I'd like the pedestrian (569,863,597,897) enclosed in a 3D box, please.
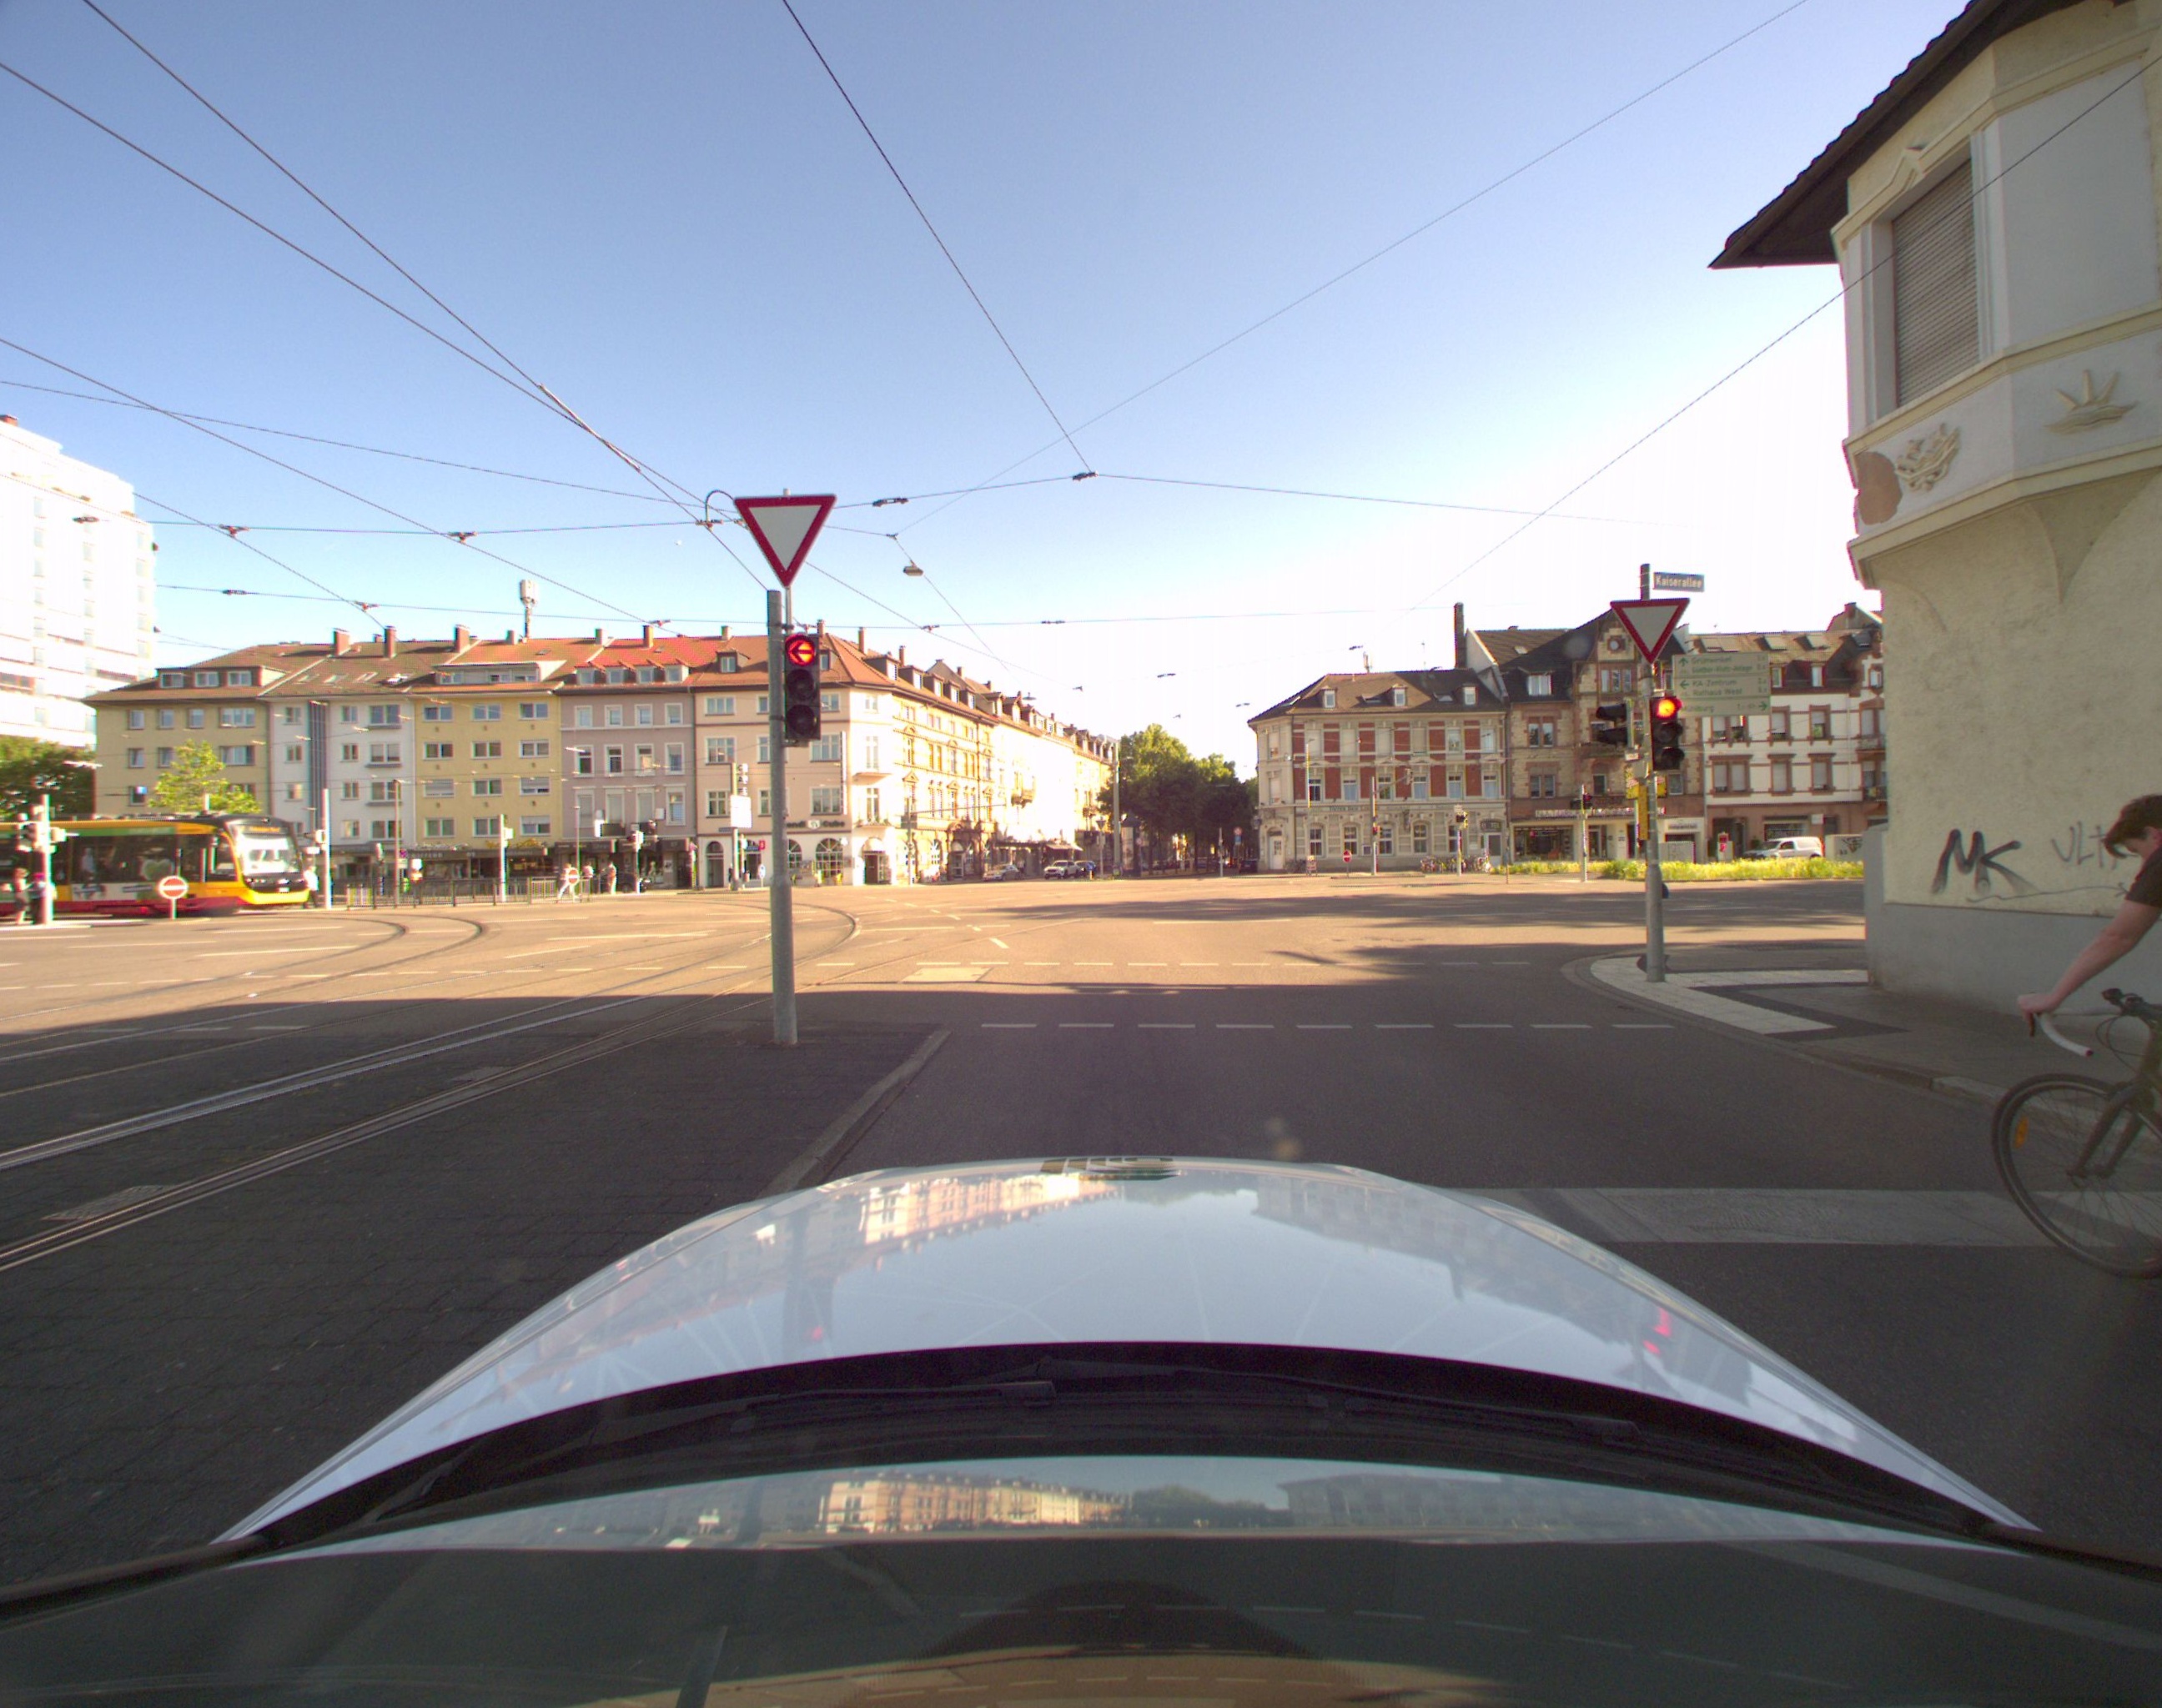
[{"bbox_3d":[-23.506,1.217,38.456,0.720,1.577,0.836,-1,-1,11],"label":"pedestrian"}]

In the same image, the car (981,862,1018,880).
[{"bbox_3d":[-6.708,1.422,67.229,1.664,1.354,3.608,-2,0,19],"label":"car"}]

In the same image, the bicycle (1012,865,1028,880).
[{"bbox_3d":[-4.893,1.482,65.537,0.696,1.118,1.642,-1,-1,16],"label":"bicycle"}]

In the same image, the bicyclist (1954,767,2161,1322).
[{"bbox_3d":[3.582,0.579,2.504,0.570,1.701,1.117,-1,0,2],"label":"bicyclist"}]

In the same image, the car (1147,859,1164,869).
[{"bbox_3d":[11.240,1.508,122.368,1.664,1.354,3.608,-2,0,19],"label":"car"}]

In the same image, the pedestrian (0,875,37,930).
[{"bbox_3d":[-32.915,1.498,25.241,0.456,1.644,0.643,-1,1,38],"label":"pedestrian"}]

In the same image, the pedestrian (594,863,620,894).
[{"bbox_3d":[-24.752,1.286,42.546,0.842,1.577,0.836,-1,-1,11],"label":"pedestrian"}]

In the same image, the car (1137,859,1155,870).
[{"bbox_3d":[9.170,1.487,115.451,1.664,1.354,3.608,-2,0,19],"label":"car"}]

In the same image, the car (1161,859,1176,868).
[{"bbox_3d":[14.029,1.496,130.613,1.664,1.354,3.608,-2,0,19],"label":"car"}]

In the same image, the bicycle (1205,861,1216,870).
[{"bbox_3d":[15.768,1.387,99.284,0.636,1.021,1.839,0,-1,-12],"label":"bicycle"}]

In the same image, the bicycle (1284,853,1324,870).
[{"bbox_3d":[15.606,0.499,57.064,2.547,1.174,0.818,0,-1,-1],"label":"bicycle"}]

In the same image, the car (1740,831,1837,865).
[{"bbox_3d":[45.445,-0.382,52.409,4.406,2.013,2.002,-1,0,4],"label":"car"}]

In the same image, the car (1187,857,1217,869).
[{"bbox_3d":[17.202,1.252,115.460,3.870,1.648,1.691,-2,0,19],"label":"car"}]

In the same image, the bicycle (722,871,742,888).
[{"bbox_3d":[-22.762,1.681,53.149,0.570,1.077,1.497,0,-1,2],"label":"bicycle"}]

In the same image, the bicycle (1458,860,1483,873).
[{"bbox_3d":[25.207,0.804,52.708,0.656,0.840,2.162,0,-1,3],"label":"bicycle"}]

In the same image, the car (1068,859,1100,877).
[{"bbox_3d":[0.308,1.238,73.773,1.664,1.483,3.967,-2,0,19],"label":"car"}]

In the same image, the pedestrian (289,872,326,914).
[{"bbox_3d":[-30.091,1.511,31.684,0.657,1.577,0.889,-1,-1,29],"label":"pedestrian"}]

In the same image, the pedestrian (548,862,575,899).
[{"bbox_3d":[-22.837,1.146,35.809,0.545,1.577,0.838,-1,-1,29],"label":"pedestrian"}]

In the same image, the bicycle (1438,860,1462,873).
[{"bbox_3d":[23.887,0.814,52.746,0.656,0.840,2.162,0,-1,3],"label":"bicycle"}]

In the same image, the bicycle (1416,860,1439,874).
[{"bbox_3d":[22.428,0.824,52.702,0.656,0.840,2.162,0,-1,3],"label":"bicycle"}]

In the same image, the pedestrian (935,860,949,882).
[{"bbox_3d":[-11.046,1.353,64.600,0.770,1.670,0.834,-1,-1,17],"label":"pedestrian"}]

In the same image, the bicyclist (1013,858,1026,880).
[{"bbox_3d":[-4.939,1.207,65.417,0.772,1.803,1.060,-1,-1,16],"label":"bicyclist"}]

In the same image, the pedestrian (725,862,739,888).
[{"bbox_3d":[-22.765,1.388,53.159,0.580,1.670,0.753,0,-1,2],"label":"pedestrian"}]

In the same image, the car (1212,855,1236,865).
[{"bbox_3d":[23.351,0.960,133.160,3.550,1.648,1.691,-2,0,19],"label":"car"}]

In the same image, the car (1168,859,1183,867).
[{"bbox_3d":[15.716,1.514,135.606,1.664,1.354,3.608,-2,0,19],"label":"car"}]

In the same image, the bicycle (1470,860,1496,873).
[{"bbox_3d":[26.011,0.798,52.723,0.656,0.840,2.162,0,-1,3],"label":"bicycle"}]

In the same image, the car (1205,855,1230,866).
[{"bbox_3d":[21.445,1.053,127.726,3.550,1.648,1.691,-2,0,19],"label":"car"}]

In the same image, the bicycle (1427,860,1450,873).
[{"bbox_3d":[23.163,0.819,52.761,0.656,0.840,2.162,0,-1,3],"label":"bicycle"}]

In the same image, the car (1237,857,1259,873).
[{"bbox_3d":[16.904,1.094,82.339,1.664,1.483,3.967,-2,0,19],"label":"car"}]

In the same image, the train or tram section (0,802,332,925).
[{"bbox_3d":[-33.564,0.372,28.140,12.957,3.814,2.944,-1,0,3],"label":"train or tram section"}]

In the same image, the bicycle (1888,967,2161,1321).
[{"bbox_3d":[3.607,0.960,2.513,0.516,0.970,1.750,-1,0,2],"label":"bicycle"}]

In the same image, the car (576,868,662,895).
[{"bbox_3d":[-30.363,1.787,53.638,4.347,1.711,2.308,0,-1,4],"label":"car"}]

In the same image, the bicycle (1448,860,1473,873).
[{"bbox_3d":[24.571,0.809,52.753,0.656,0.840,2.162,0,-1,3],"label":"bicycle"}]

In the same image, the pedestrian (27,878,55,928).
[{"bbox_3d":[-31.910,1.498,24.992,0.456,1.505,0.485,-1,1,38],"label":"pedestrian"}]

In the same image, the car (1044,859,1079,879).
[{"bbox_3d":[-1.604,1.212,67.513,1.664,1.483,3.789,-2,0,19],"label":"car"}]
